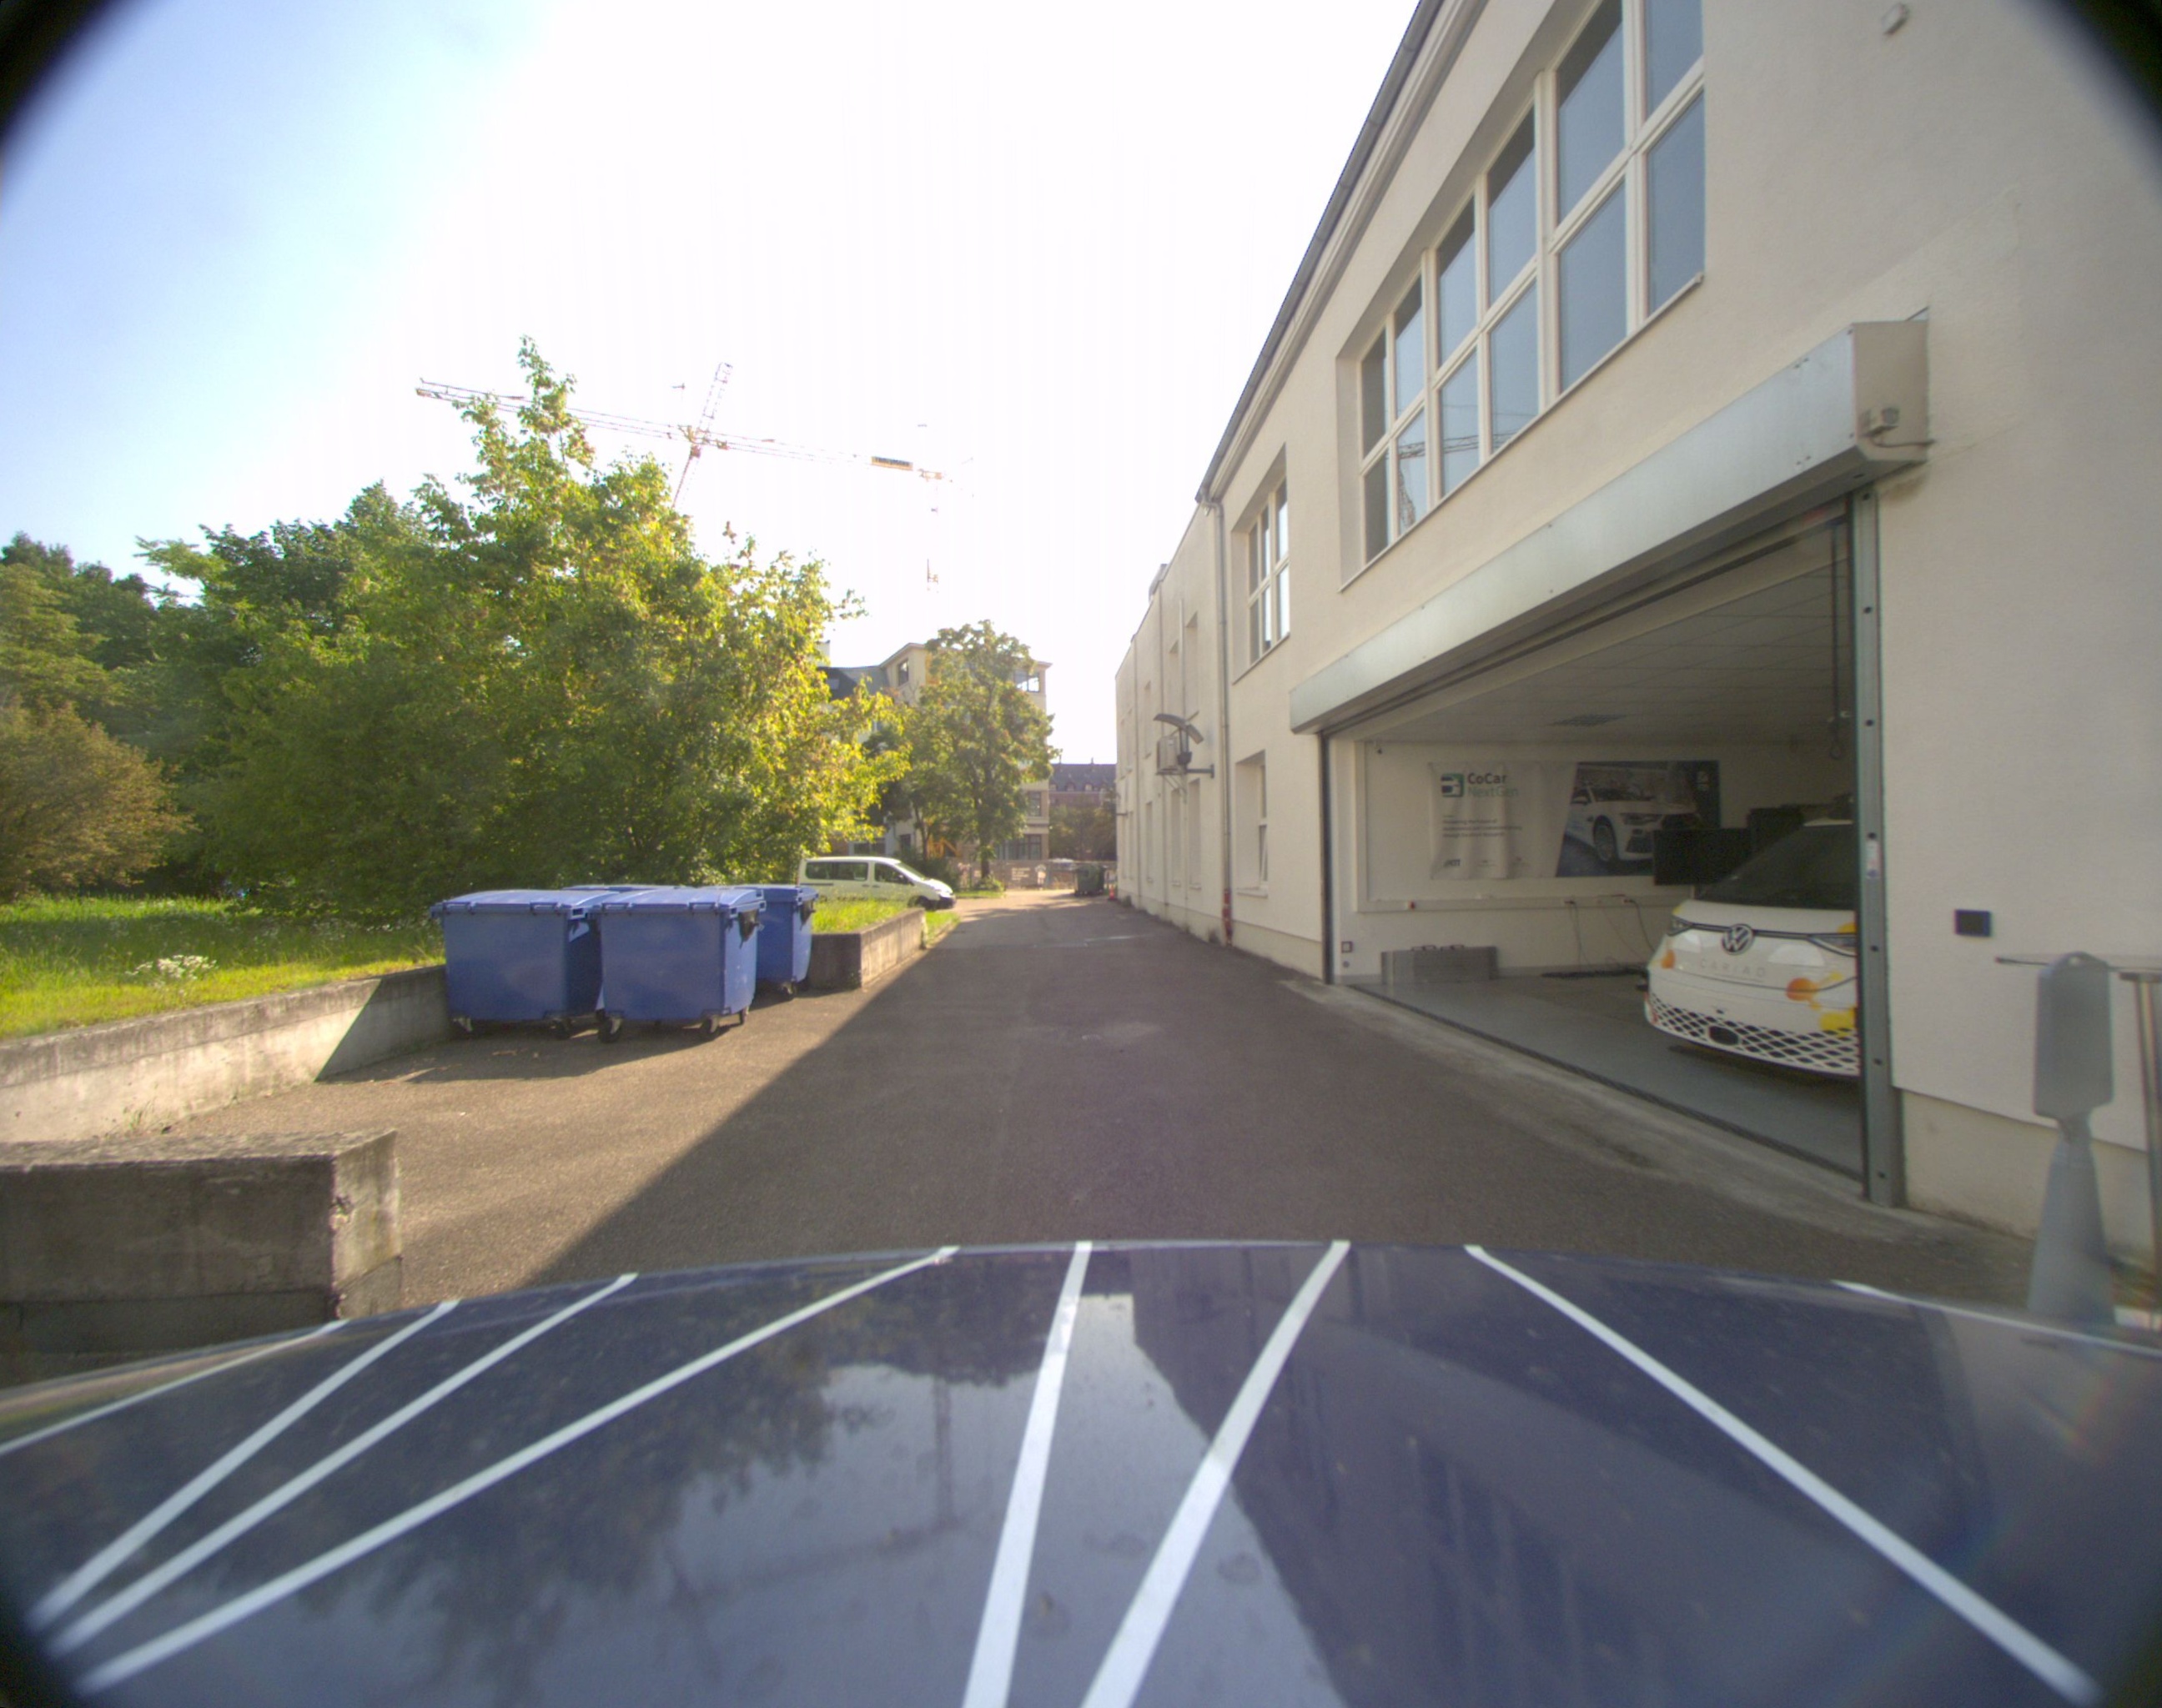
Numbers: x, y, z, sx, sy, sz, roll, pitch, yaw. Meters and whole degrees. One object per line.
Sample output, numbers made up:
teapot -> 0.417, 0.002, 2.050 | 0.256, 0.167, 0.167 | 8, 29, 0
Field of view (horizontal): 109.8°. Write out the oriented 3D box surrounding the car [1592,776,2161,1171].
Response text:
car -> 6.568, 0.587, 5.247 | 4.760, 2.080, 2.055 | -2, 1, -4

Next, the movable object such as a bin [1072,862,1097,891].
movable object such as a bin -> 0.157, 1.181, 40.040 | 1.037, 1.489, 1.106 | -1, 1, -15

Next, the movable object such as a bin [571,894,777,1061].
movable object such as a bin -> -3.732, 1.091, 7.137 | 1.304, 1.332, 1.194 | -1, 1, -5

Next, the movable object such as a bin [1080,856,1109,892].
movable object such as a bin -> 0.666, 0.965, 37.272 | 1.184, 1.696, 1.376 | -1, 1, -8

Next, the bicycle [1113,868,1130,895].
bicycle -> 1.875, 1.262, 35.671 | 0.477, 1.206, 2.007 | -1, 0, -5

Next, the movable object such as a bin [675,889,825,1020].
movable object such as a bin -> -3.811, 1.123, 8.888 | 1.313, 1.332, 1.099 | -1, 1, -7

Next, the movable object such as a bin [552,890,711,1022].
movable object such as a bin -> -5.144, 1.129, 8.806 | 1.230, 1.332, 1.076 | -1, 1, -8

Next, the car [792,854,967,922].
car -> -6.284, 1.023, 24.155 | 4.971, 1.910, 2.043 | -2, 1, -2

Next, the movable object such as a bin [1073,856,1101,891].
movable object such as a bin -> 0.304, 0.966, 38.647 | 1.184, 1.696, 1.376 | -1, 1, -8

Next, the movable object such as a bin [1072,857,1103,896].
movable object such as a bin -> 0.288, 0.987, 34.030 | 1.184, 1.696, 1.376 | -1, 1, -8

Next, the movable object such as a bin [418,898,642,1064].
movable object such as a bin -> -5.061, 1.128, 7.091 | 1.238, 1.332, 1.117 | -1, 1, 0

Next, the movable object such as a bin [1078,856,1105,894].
movable object such as a bin -> 0.482, 0.975, 35.848 | 1.183, 1.696, 1.395 | -1, 1, 0
